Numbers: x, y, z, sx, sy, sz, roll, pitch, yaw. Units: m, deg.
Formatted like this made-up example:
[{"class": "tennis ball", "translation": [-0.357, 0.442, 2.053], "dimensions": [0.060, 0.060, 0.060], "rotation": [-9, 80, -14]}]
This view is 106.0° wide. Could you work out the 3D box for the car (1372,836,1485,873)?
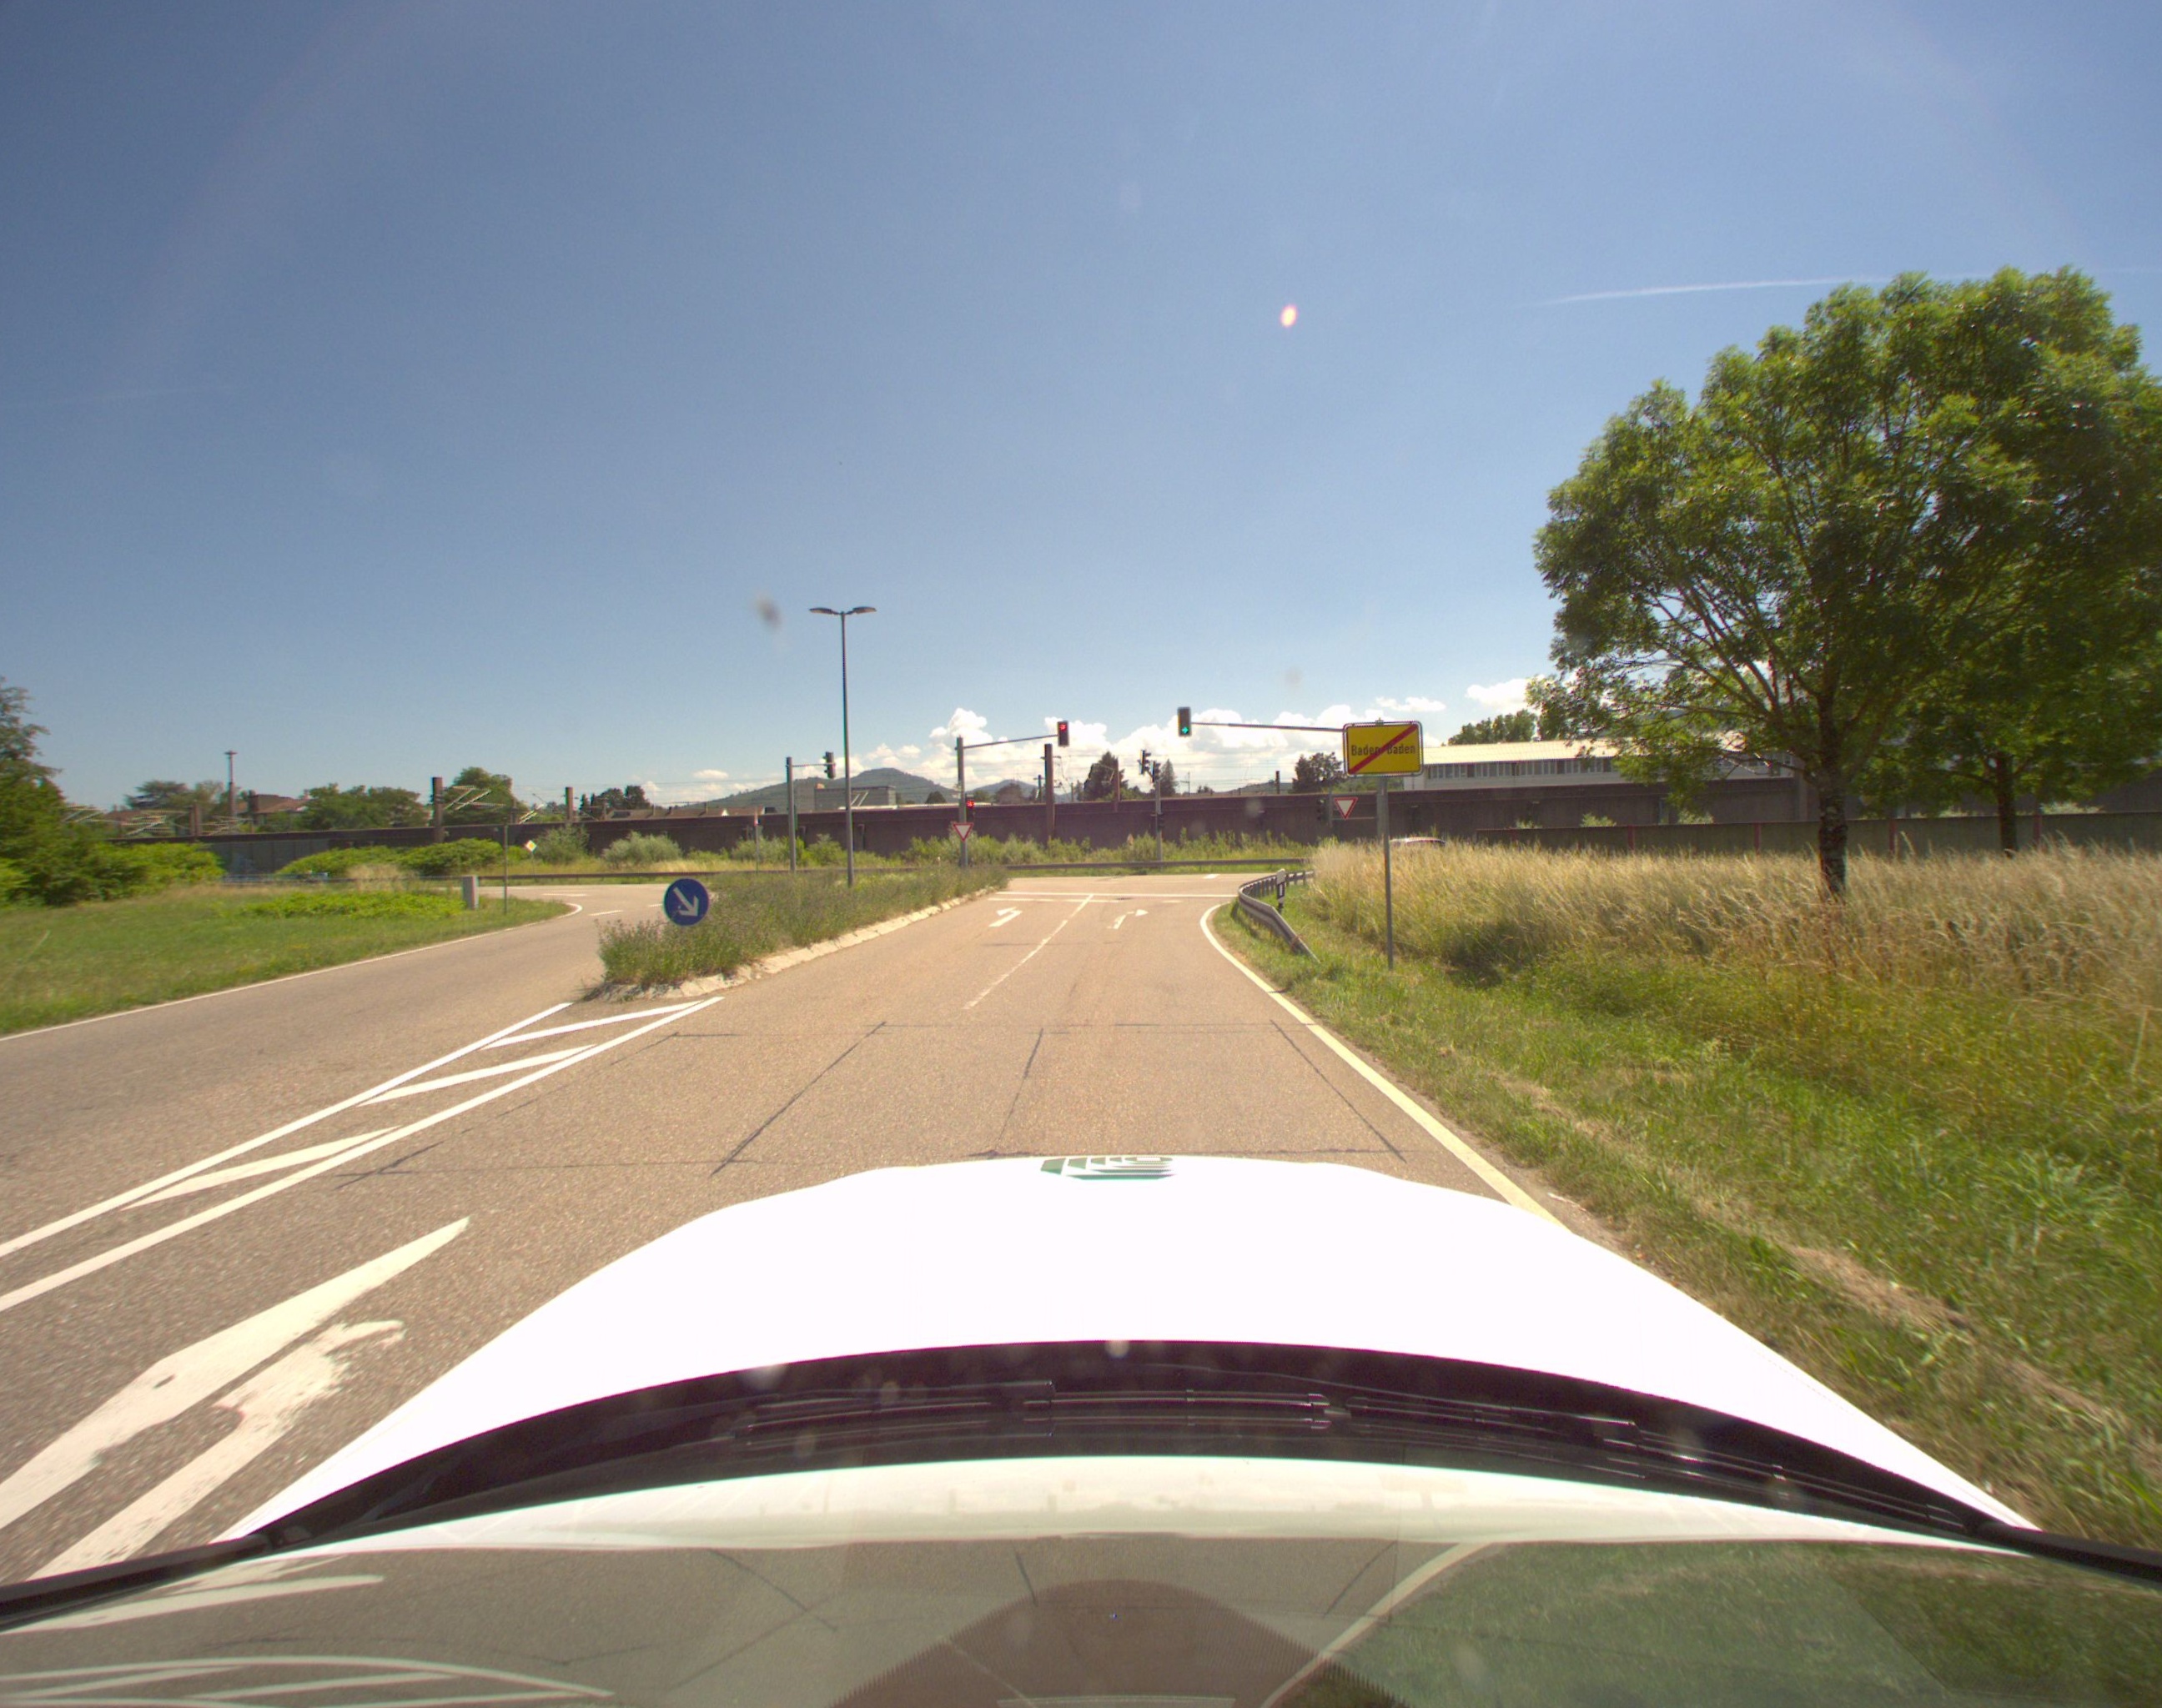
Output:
[{"class": "car", "translation": [14.459, -0.019, 34.092], "dimensions": [3.964, 1.503, 2.005], "rotation": [0, 1, 8]}]
